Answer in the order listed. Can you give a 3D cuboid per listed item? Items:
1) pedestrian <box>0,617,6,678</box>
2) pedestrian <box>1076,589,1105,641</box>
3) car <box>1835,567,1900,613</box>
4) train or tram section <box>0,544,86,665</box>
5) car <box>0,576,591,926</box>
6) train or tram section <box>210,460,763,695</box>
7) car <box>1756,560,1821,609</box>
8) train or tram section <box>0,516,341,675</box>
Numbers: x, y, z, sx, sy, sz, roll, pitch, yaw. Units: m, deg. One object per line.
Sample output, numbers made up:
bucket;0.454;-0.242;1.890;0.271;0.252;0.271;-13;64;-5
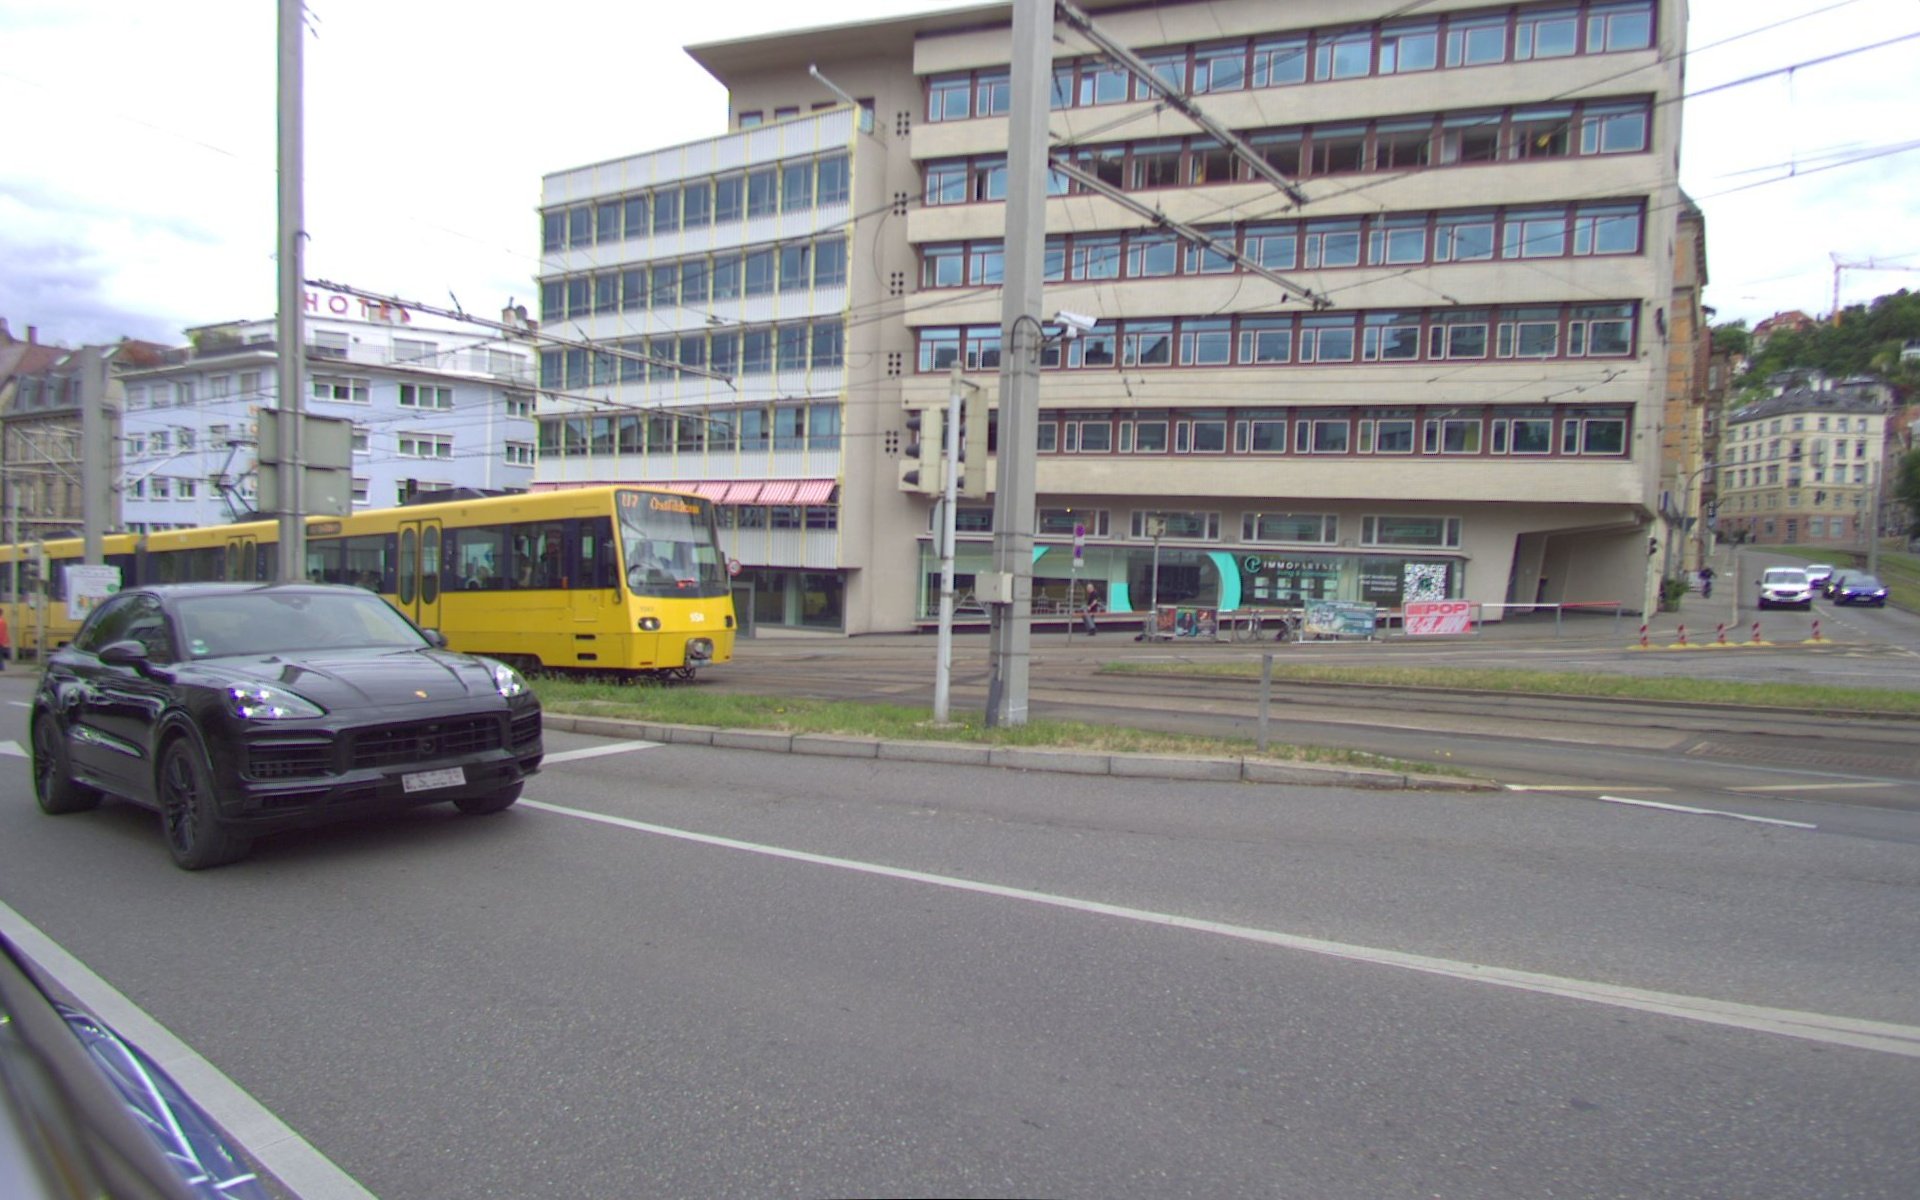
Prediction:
pedestrian;-24.183;1.175;25.201;0.569;1.475;0.677;2;1;-42
pedestrian;4.432;0.506;34.360;0.778;1.721;0.755;-1;0;22
car;42.292;-0.440;47.226;1.998;2.029;3.948;-1;0;39
train or tram section;-35.211;0.193;34.775;14.162;3.691;2.864;-1;1;28
car;-4.914;0.741;7.140;4.771;1.697;2.010;-1;1;36
train or tram section;-10.487;-0.290;20.939;14.424;3.691;2.860;-1;0;31
car;36.803;-0.647;45.055;1.997;2.029;3.950;-1;-1;37
train or tram section;-22.790;-0.036;28.112;14.165;3.691;2.863;-1;0;29
